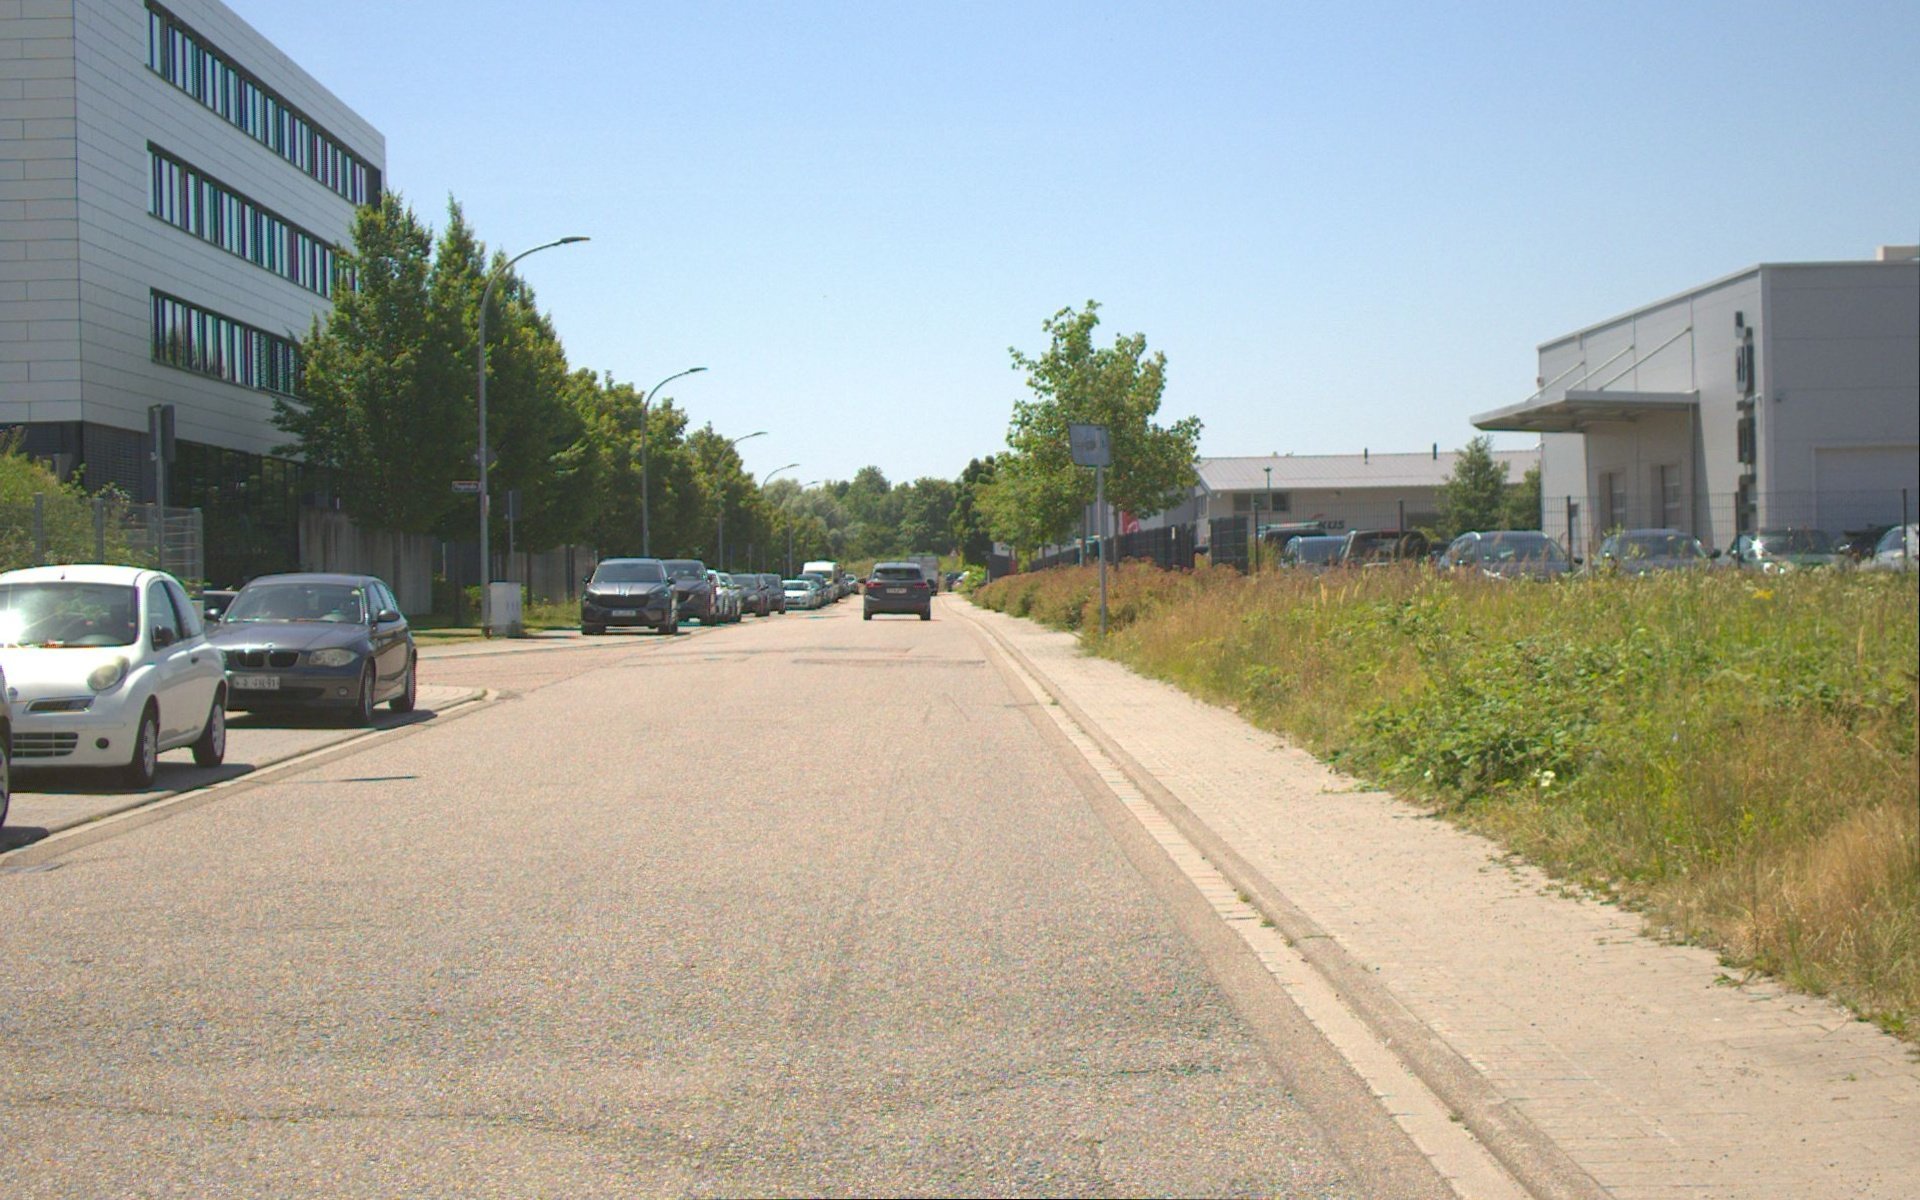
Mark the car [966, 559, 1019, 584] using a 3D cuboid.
[{"bbox_3d":[2.418,-2.139,259.356,3.875,1.744,1.752,1,0,-3],"label":"car"}]

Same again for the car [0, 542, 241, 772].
[{"bbox_3d":[-6.399,0.368,24.780,1.674,1.525,3.758,1,0,-1],"label":"car"}]

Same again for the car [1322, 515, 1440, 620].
[{"bbox_3d":[6.605,-0.502,54.095,1.466,1.568,2.662,-1,0,-1],"label":"car"}]

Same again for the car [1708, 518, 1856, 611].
[{"bbox_3d":[13.170,-0.560,55.223,1.457,1.408,3.332,-1,0,-2],"label":"car"}]

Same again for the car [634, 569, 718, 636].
[{"bbox_3d":[-7.101,0.053,86.224,1.771,1.618,4.582,1,0,-1],"label":"car"}]

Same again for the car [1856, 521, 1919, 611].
[{"bbox_3d":[15.536,-0.542,54.660,1.514,1.392,3.541,-1,0,-2],"label":"car"}]

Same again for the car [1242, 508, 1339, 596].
[{"bbox_3d":[8.193,-1.189,85.582,1.876,2.079,4.226,-2,1,-1],"label":"car"}]

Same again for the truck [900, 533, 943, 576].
[{"bbox_3d":[-2.722,-3.213,243.789,2.933,2.964,6.419,1,0,0],"label":"truck"}]

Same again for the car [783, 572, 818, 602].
[{"bbox_3d":[-7.901,-0.664,170.182,1.720,1.471,3.858,0,0,-3],"label":"car"}]

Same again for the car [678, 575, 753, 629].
[{"bbox_3d":[-6.607,0.041,93.256,1.771,1.426,4.201,1,0,-1],"label":"car"}]

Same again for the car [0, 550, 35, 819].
[{"bbox_3d":[-6.259,0.483,18.288,1.674,1.525,3.910,0,0,-1],"label":"car"}]

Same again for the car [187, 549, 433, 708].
[{"bbox_3d":[-6.277,0.255,33.588,1.674,1.445,4.069,1,0,-1],"label":"car"}]

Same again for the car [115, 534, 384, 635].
[{"bbox_3d":[-11.573,-0.256,56.191,1.775,1.582,4.066,0,0,41],"label":"car"}]

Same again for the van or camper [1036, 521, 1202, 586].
[{"bbox_3d":[6.633,-1.938,144.236,6.757,2.576,2.636,-1,0,-1],"label":"van or camper"}]

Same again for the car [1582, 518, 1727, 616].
[{"bbox_3d":[11.036,-0.517,54.790,1.514,1.491,3.332,-1,0,-2],"label":"car"}]

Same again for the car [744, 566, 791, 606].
[{"bbox_3d":[-7.769,-0.556,138.927,1.770,1.606,4.248,0,0,-2],"label":"car"}]

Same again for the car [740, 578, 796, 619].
[{"bbox_3d":[-6.754,-0.064,121.248,1.771,1.426,4.201,1,0,-1],"label":"car"}]

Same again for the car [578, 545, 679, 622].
[{"bbox_3d":[-7.037,-0.343,73.315,1.771,1.582,4.481,-1,0,-1],"label":"car"}]

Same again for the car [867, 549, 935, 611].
[{"bbox_3d":[-1.600,-0.535,93.772,1.789,1.618,3.809,1,0,-1],"label":"car"}]
